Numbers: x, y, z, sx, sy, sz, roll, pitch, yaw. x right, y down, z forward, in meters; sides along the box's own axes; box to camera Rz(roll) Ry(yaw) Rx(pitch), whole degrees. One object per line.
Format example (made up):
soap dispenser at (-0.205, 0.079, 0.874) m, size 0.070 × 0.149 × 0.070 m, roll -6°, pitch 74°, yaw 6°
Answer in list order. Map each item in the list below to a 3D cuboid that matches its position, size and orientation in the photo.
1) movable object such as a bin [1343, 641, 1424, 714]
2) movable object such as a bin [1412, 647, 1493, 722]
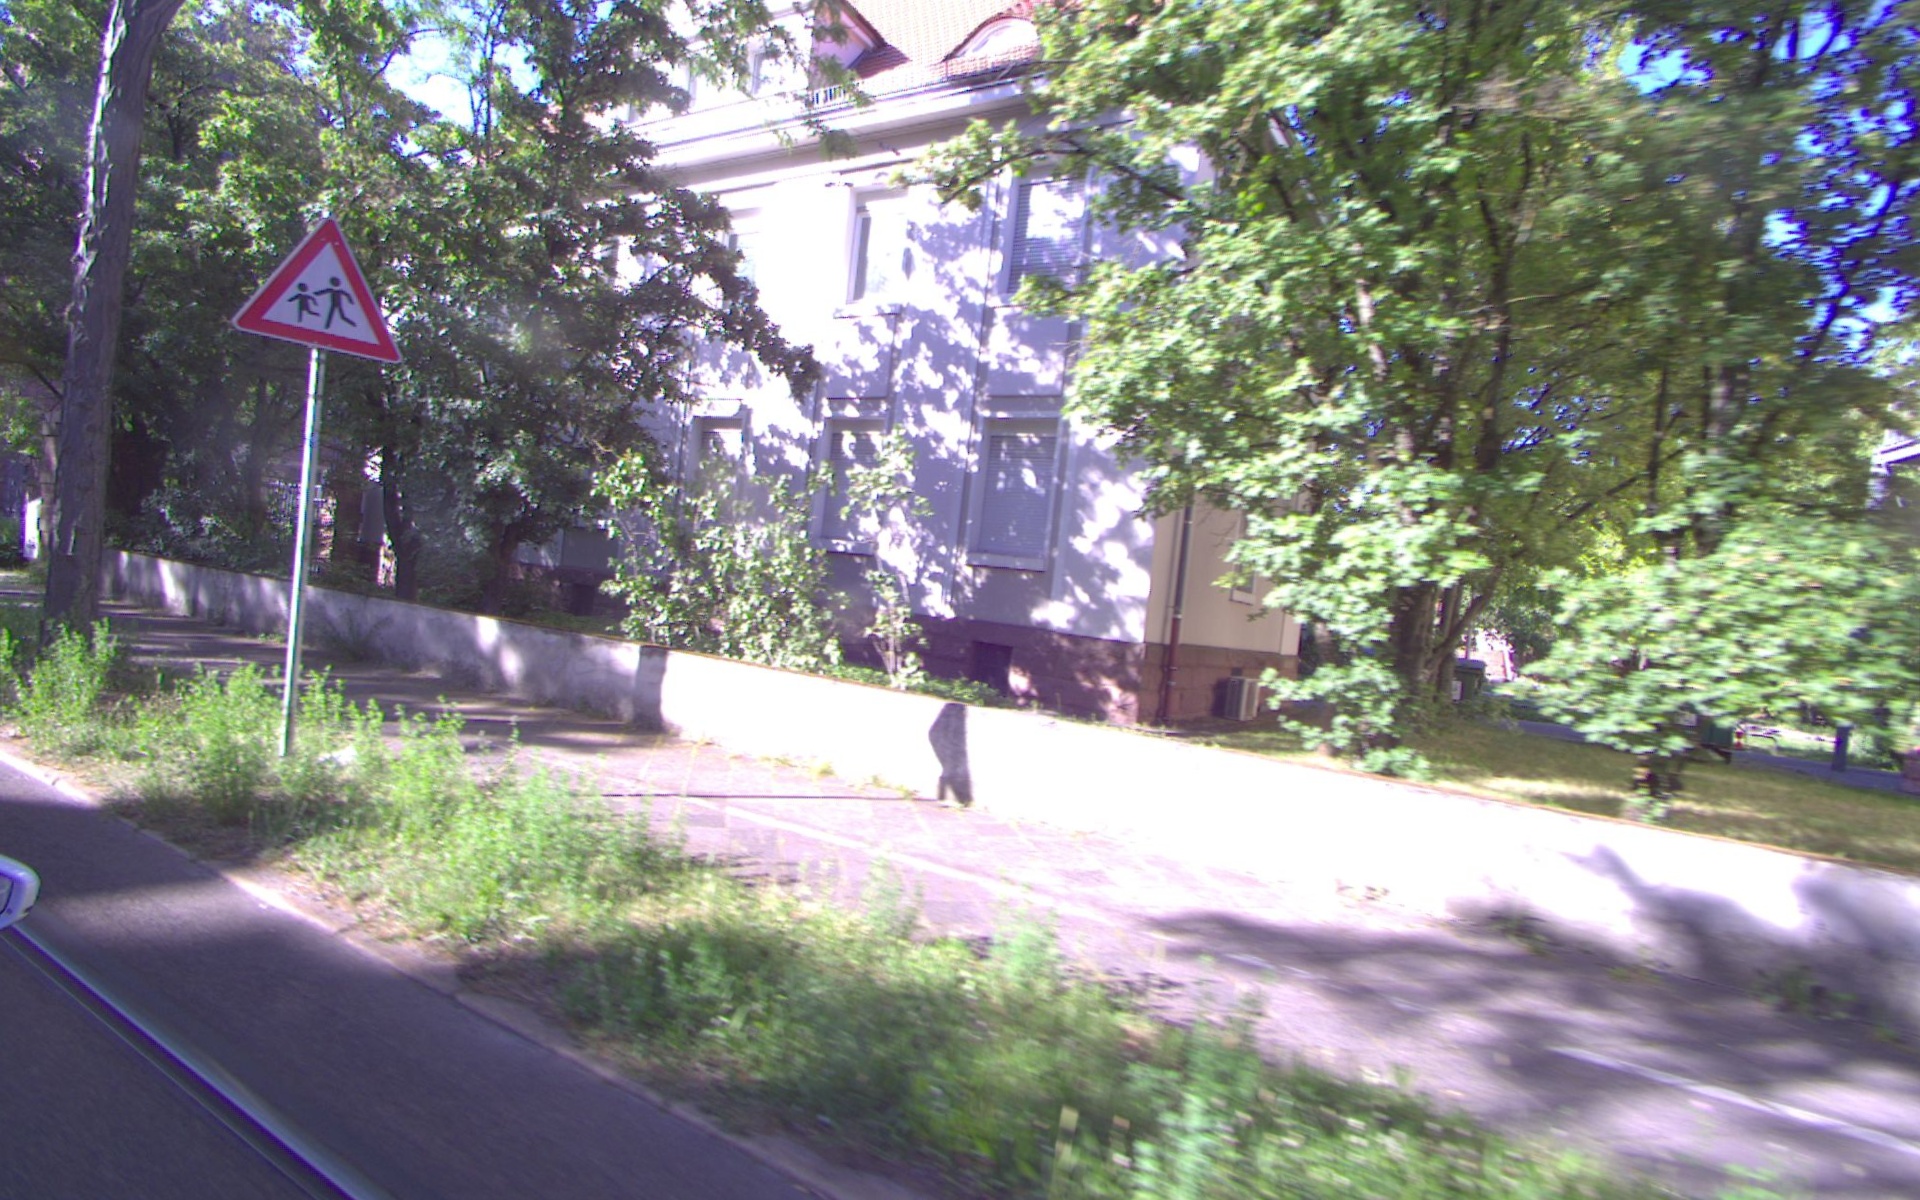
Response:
movable object such as a bin at (10.059, 1.860, 23.839) m, size 1.461 × 1.459 × 2.232 m, roll 7°, pitch -3°, yaw 28°
movable object such as a bin at (11.332, 1.969, 23.127) m, size 1.461 × 1.459 × 2.232 m, roll 7°, pitch -3°, yaw 28°
